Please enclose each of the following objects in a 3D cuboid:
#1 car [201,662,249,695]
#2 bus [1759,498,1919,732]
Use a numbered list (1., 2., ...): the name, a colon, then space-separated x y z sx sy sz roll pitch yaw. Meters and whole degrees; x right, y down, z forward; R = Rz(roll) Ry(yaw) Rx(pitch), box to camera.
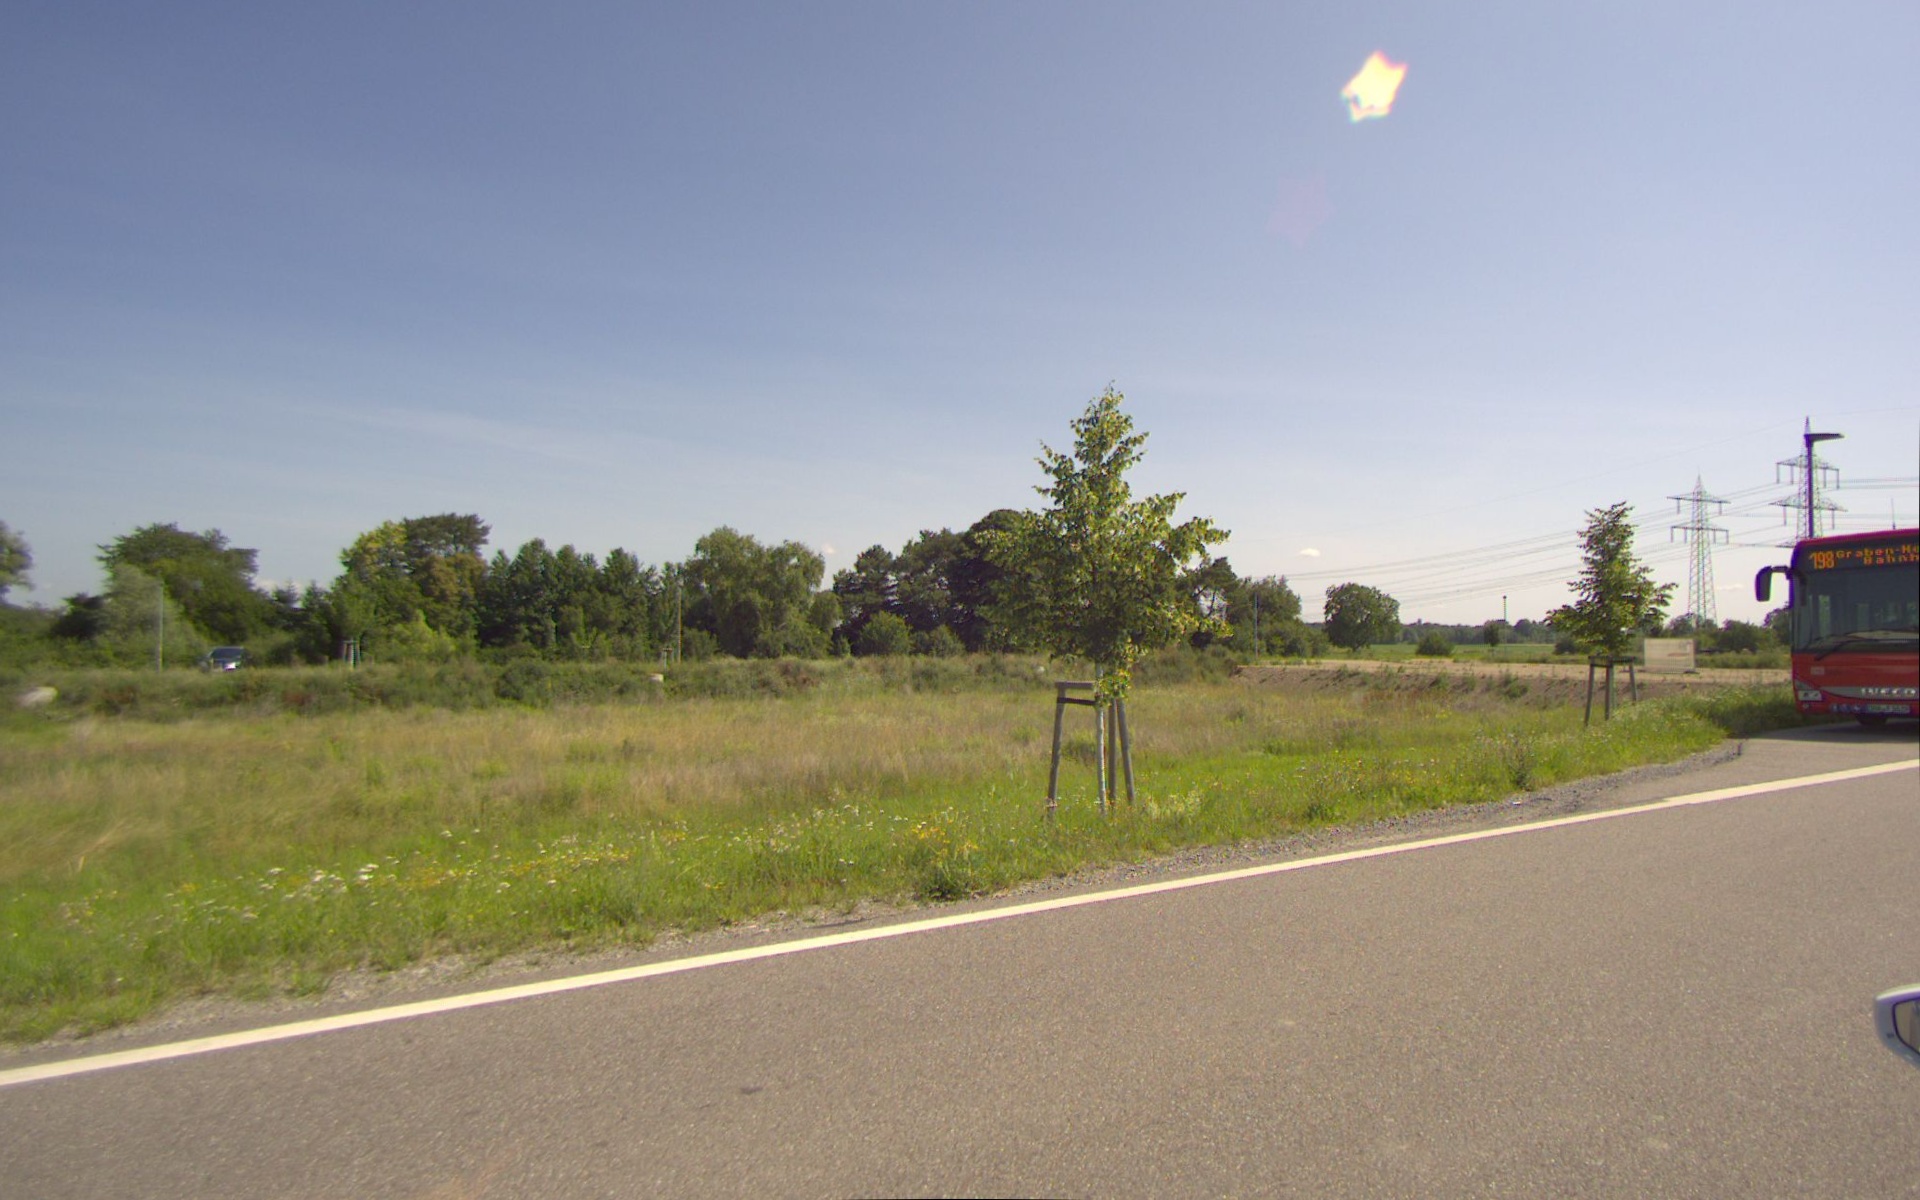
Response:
1. car: -36.871 3.921 50.458 1.494 1.555 3.530 2 -4 -29
2. bus: 18.548 0.360 17.808 12.089 3.329 2.781 1 -3 -31
